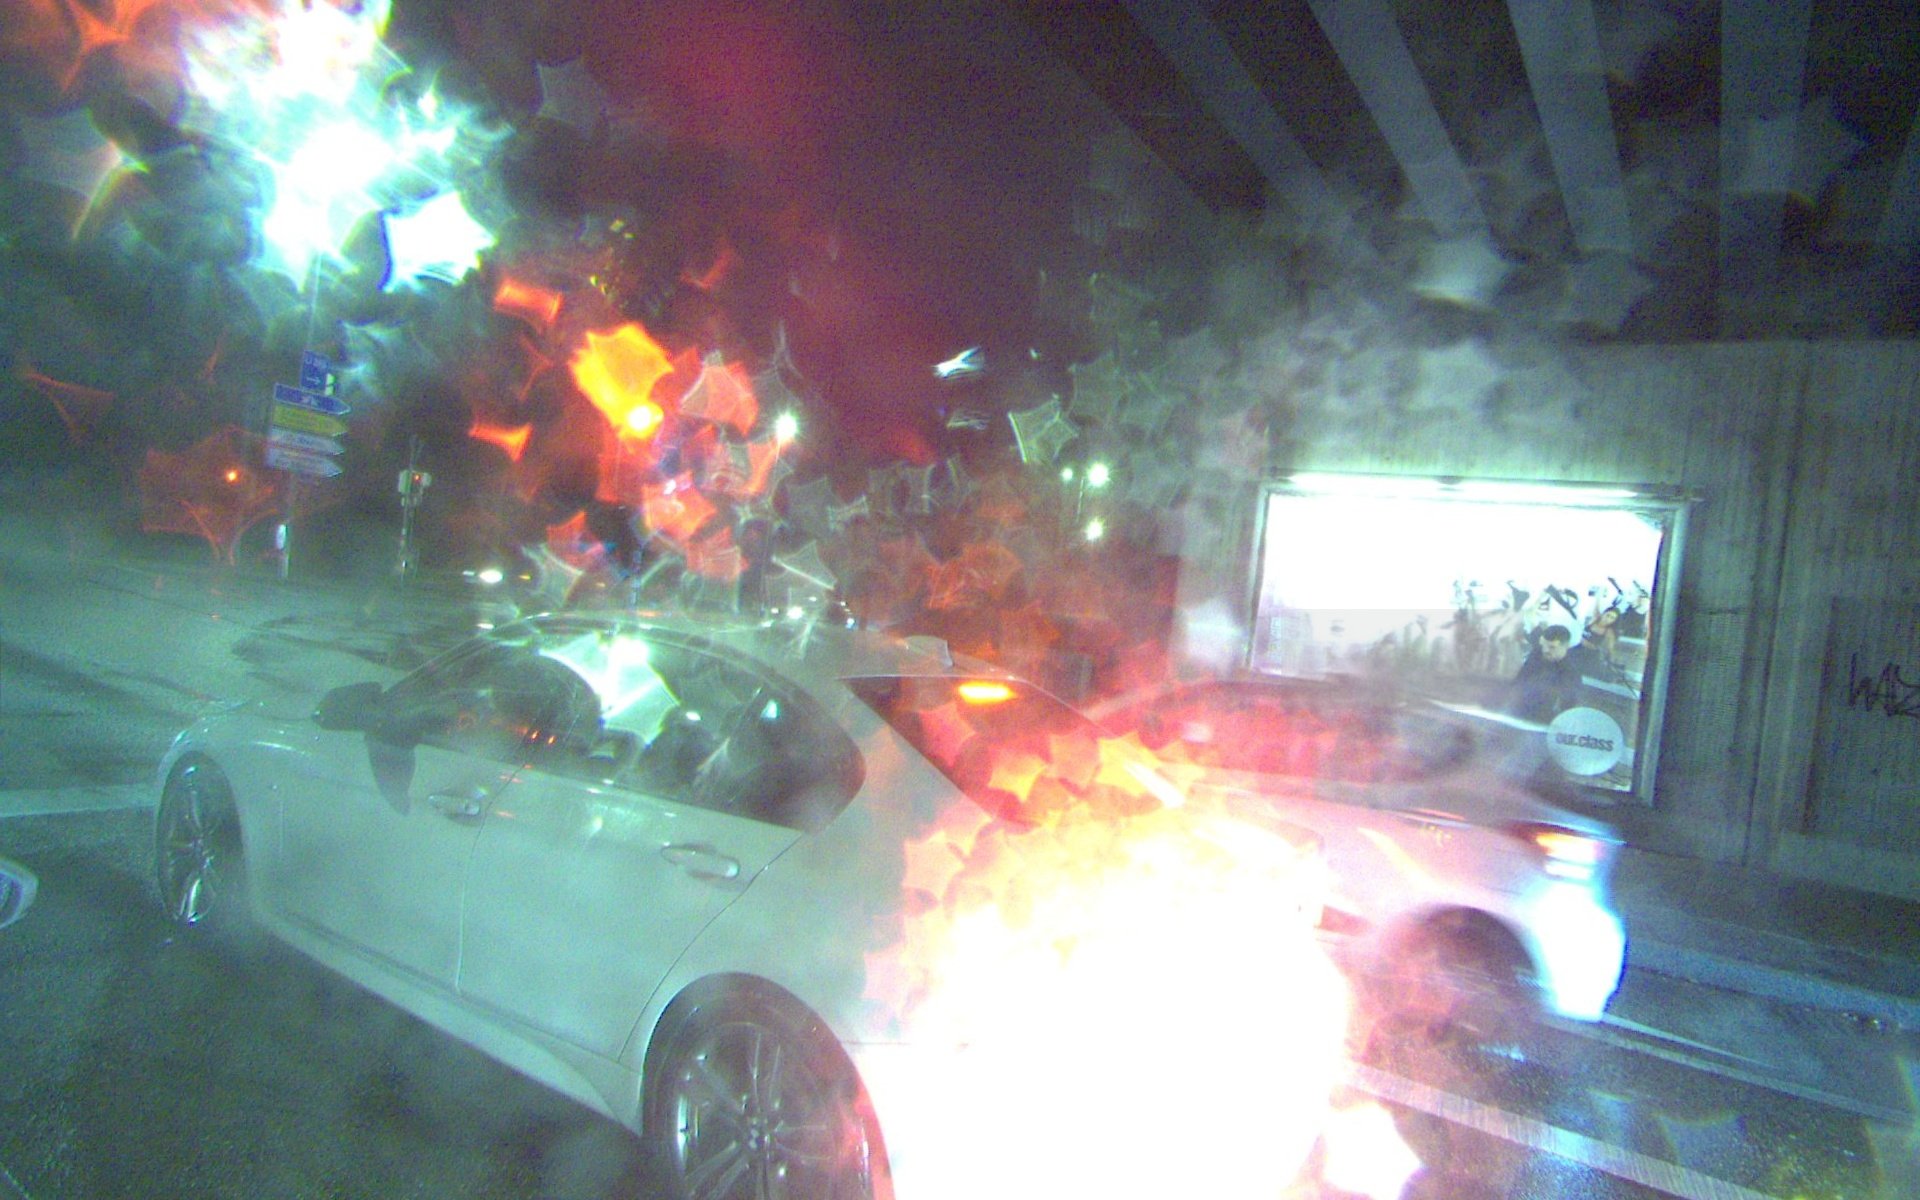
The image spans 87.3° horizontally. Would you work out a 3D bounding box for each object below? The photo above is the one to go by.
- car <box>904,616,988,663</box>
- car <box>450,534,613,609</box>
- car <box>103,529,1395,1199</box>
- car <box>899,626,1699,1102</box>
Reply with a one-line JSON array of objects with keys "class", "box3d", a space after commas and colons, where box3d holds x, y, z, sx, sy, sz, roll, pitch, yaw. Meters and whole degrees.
[{"class": "car", "box3d": [-0.753, 2.329, 58.377, 2.110, 2.169, 4.913, 6, -2, 38]}, {"class": "car", "box3d": [-13.960, -0.892, 33.006, 1.831, 1.769, 4.496, 6, -2, 36]}, {"class": "car", "box3d": [-0.980, 0.711, 3.503, 4.277, 1.420, 1.720, 6, -2, 32]}, {"class": "car", "box3d": [1.660, 1.123, 5.498, 3.533, 1.476, 1.637, 6, -2, 30]}]
